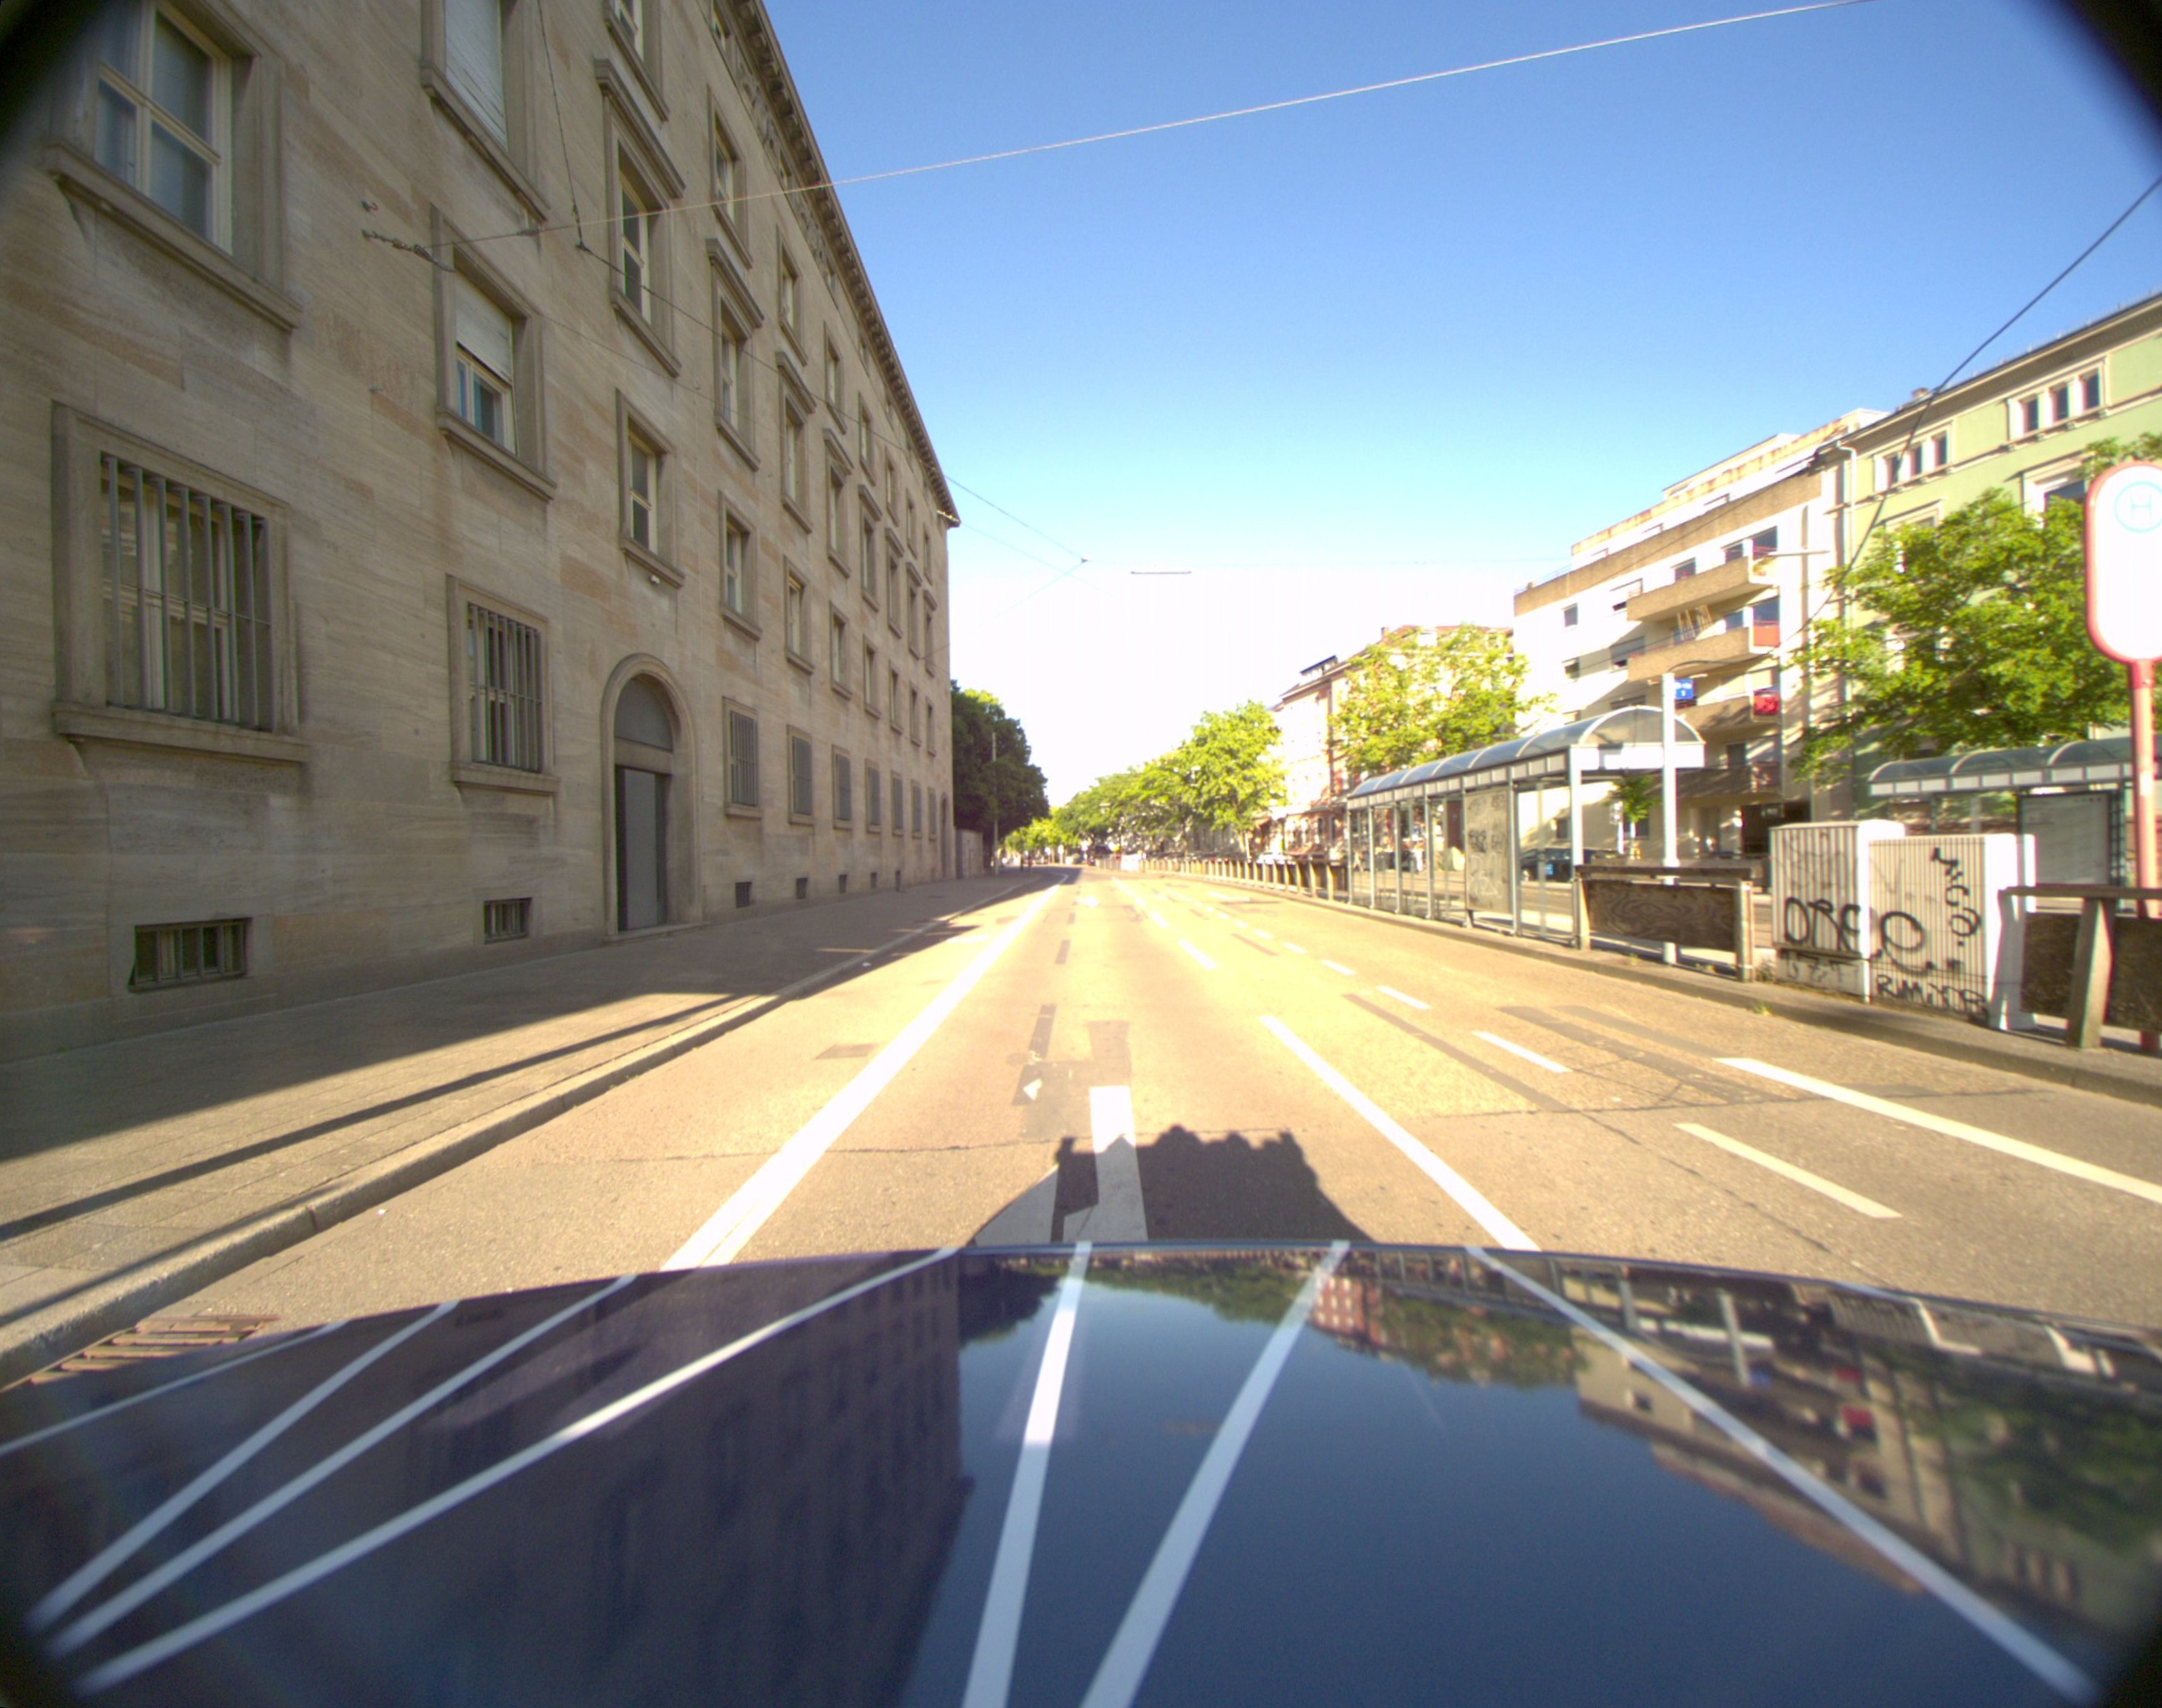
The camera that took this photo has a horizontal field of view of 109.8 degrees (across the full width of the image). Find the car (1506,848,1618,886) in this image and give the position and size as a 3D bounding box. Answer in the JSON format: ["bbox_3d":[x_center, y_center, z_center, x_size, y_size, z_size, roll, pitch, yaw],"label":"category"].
[{"bbox_3d":[18.734,0.460,29.803,1.670,1.400,3.877,0,0,-5],"label":"car"}]

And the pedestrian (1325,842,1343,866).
[{"bbox_3d":[18.429,0.005,55.325,0.855,1.710,1.019,-1,1,-9],"label":"pedestrian"}]

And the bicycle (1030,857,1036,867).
[{"bbox_3d":[-5.551,0.929,87.497,0.625,1.167,1.566,0,0,1],"label":"bicycle"}]

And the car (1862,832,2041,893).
[{"bbox_3d":[24.846,0.214,21.722,4.002,1.573,1.761,-1,0,-14],"label":"car"}]

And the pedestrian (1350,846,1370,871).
[{"bbox_3d":[18.067,0.296,49.165,0.870,1.619,0.889,-2,1,-42],"label":"pedestrian"}]

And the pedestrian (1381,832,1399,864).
[{"bbox_3d":[21.322,-0.407,52.404,0.813,2.194,0.756,-1,1,-10],"label":"pedestrian"}]

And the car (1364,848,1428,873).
[{"bbox_3d":[18.514,0.365,44.808,1.609,1.388,3.997,-1,0,-9],"label":"car"}]

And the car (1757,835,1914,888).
[{"bbox_3d":[24.047,0.217,24.263,4.002,1.573,1.761,-1,0,-14],"label":"car"}]

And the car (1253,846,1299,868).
[{"bbox_3d":[16.353,0.249,63.628,4.134,1.698,1.848,-1,1,-45],"label":"car"}]

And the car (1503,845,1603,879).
[{"bbox_3d":[20.935,0.327,33.869,1.654,1.419,3.737,-1,0,-11],"label":"car"}]

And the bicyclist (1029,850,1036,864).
[{"bbox_3d":[-5.551,0.325,87.611,0.728,1.570,0.775,0,1,1],"label":"bicyclist"}]

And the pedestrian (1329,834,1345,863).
[{"bbox_3d":[19.441,-0.394,57.735,0.813,2.194,0.756,-1,1,-10],"label":"pedestrian"}]

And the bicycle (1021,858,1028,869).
[{"bbox_3d":[-6.488,1.081,87.574,0.625,1.214,1.659,-3,1,1],"label":"bicycle"}]

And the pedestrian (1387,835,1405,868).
[{"bbox_3d":[21.282,-0.167,51.399,0.813,2.194,0.756,-1,1,-10],"label":"pedestrian"}]

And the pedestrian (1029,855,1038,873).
[{"bbox_3d":[-3.679,0.784,58.976,0.548,1.327,0.587,-1,1,7],"label":"pedestrian"}]

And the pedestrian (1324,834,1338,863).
[{"bbox_3d":[19.484,-0.412,59.199,0.812,2.194,0.756,-1,1,-4],"label":"pedestrian"}]

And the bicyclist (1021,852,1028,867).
[{"bbox_3d":[-6.510,0.639,87.678,0.625,1.729,0.688,-3,1,1],"label":"bicyclist"}]
